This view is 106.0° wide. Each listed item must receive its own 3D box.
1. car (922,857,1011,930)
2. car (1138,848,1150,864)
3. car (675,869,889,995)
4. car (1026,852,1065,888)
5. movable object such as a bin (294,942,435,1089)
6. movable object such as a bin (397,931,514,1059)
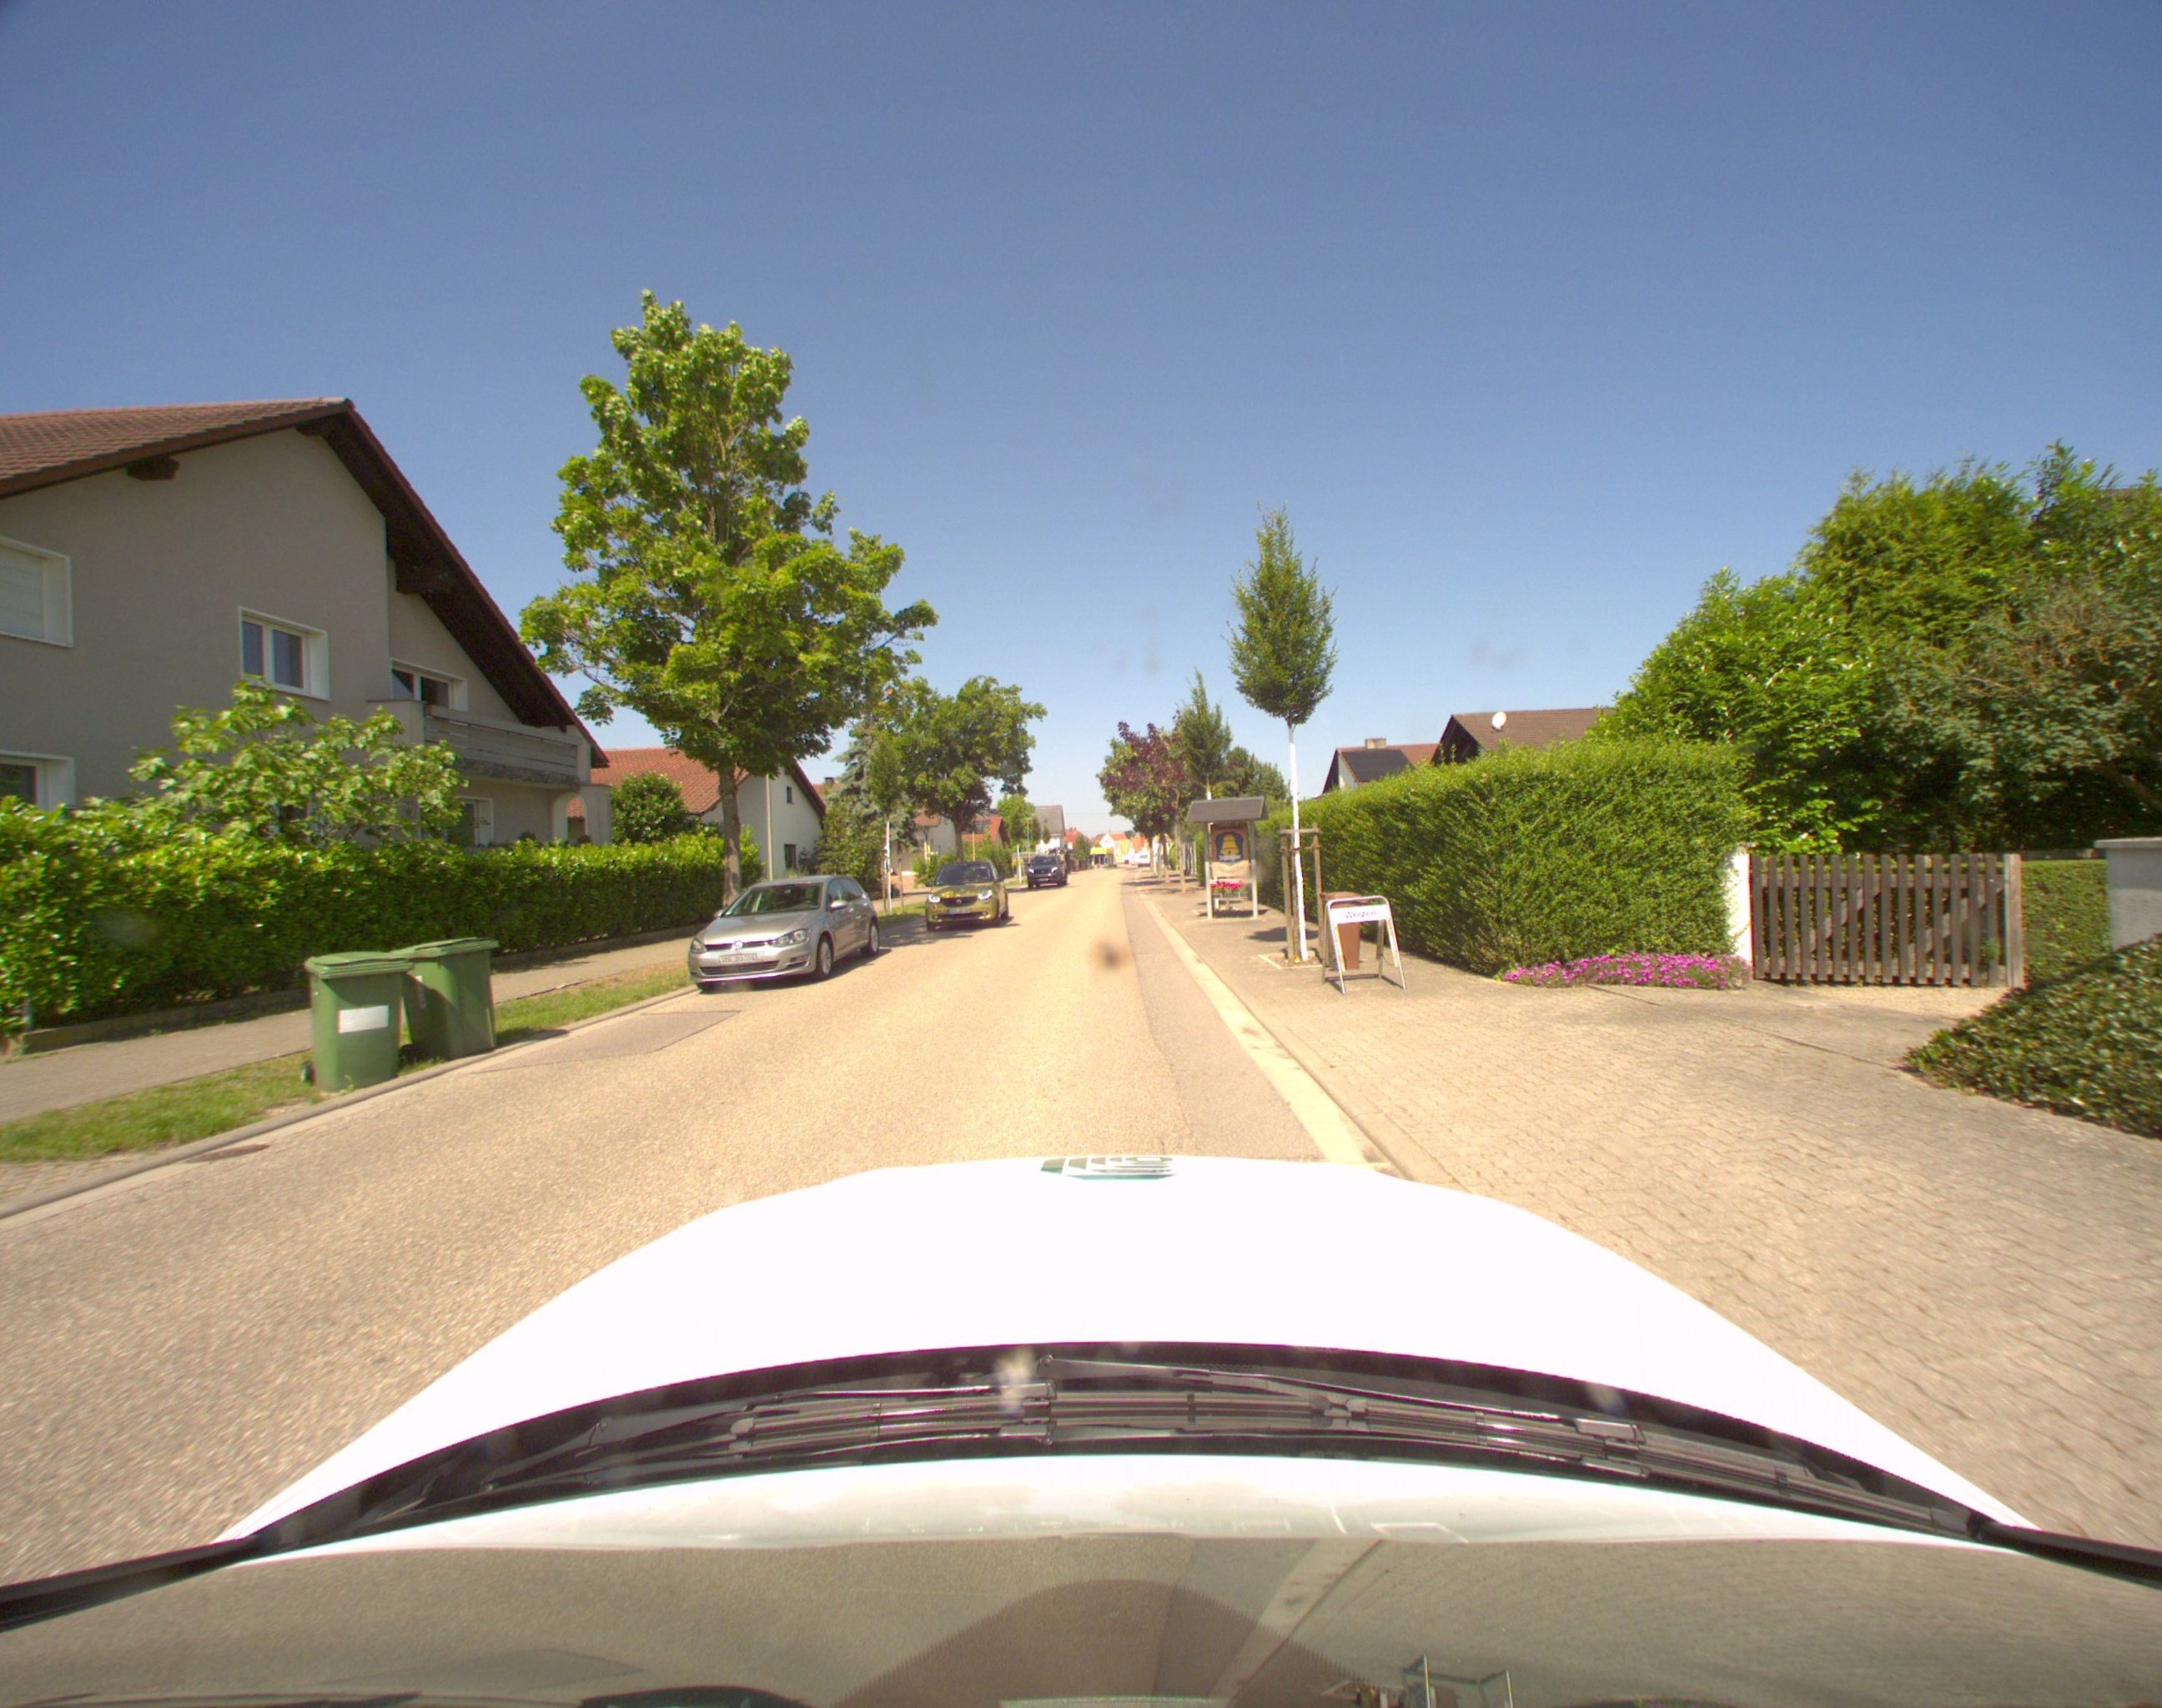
[{"bbox_3d":[-2.689,0.896,19.802,1.661,1.524,3.440,-4,0,-1],"label":"car"},{"bbox_3d":[10.136,0.282,131.104,1.729,2.432,4.381,-3,0,6],"label":"car"},{"bbox_3d":[-4.287,1.027,12.400,1.642,1.423,4.079,-5,0,0],"label":"car"},{"bbox_3d":[-1.877,0.821,44.528,1.830,1.752,3.795,-5,0,0],"label":"car"},{"bbox_3d":[-6.024,1.317,6.856,0.706,1.079,0.643,-3,-1,27],"label":"movable object such as a bin"},{"bbox_3d":[-5.799,1.287,7.572,0.570,1.079,0.601,-3,-1,14],"label":"movable object such as a bin"}]
